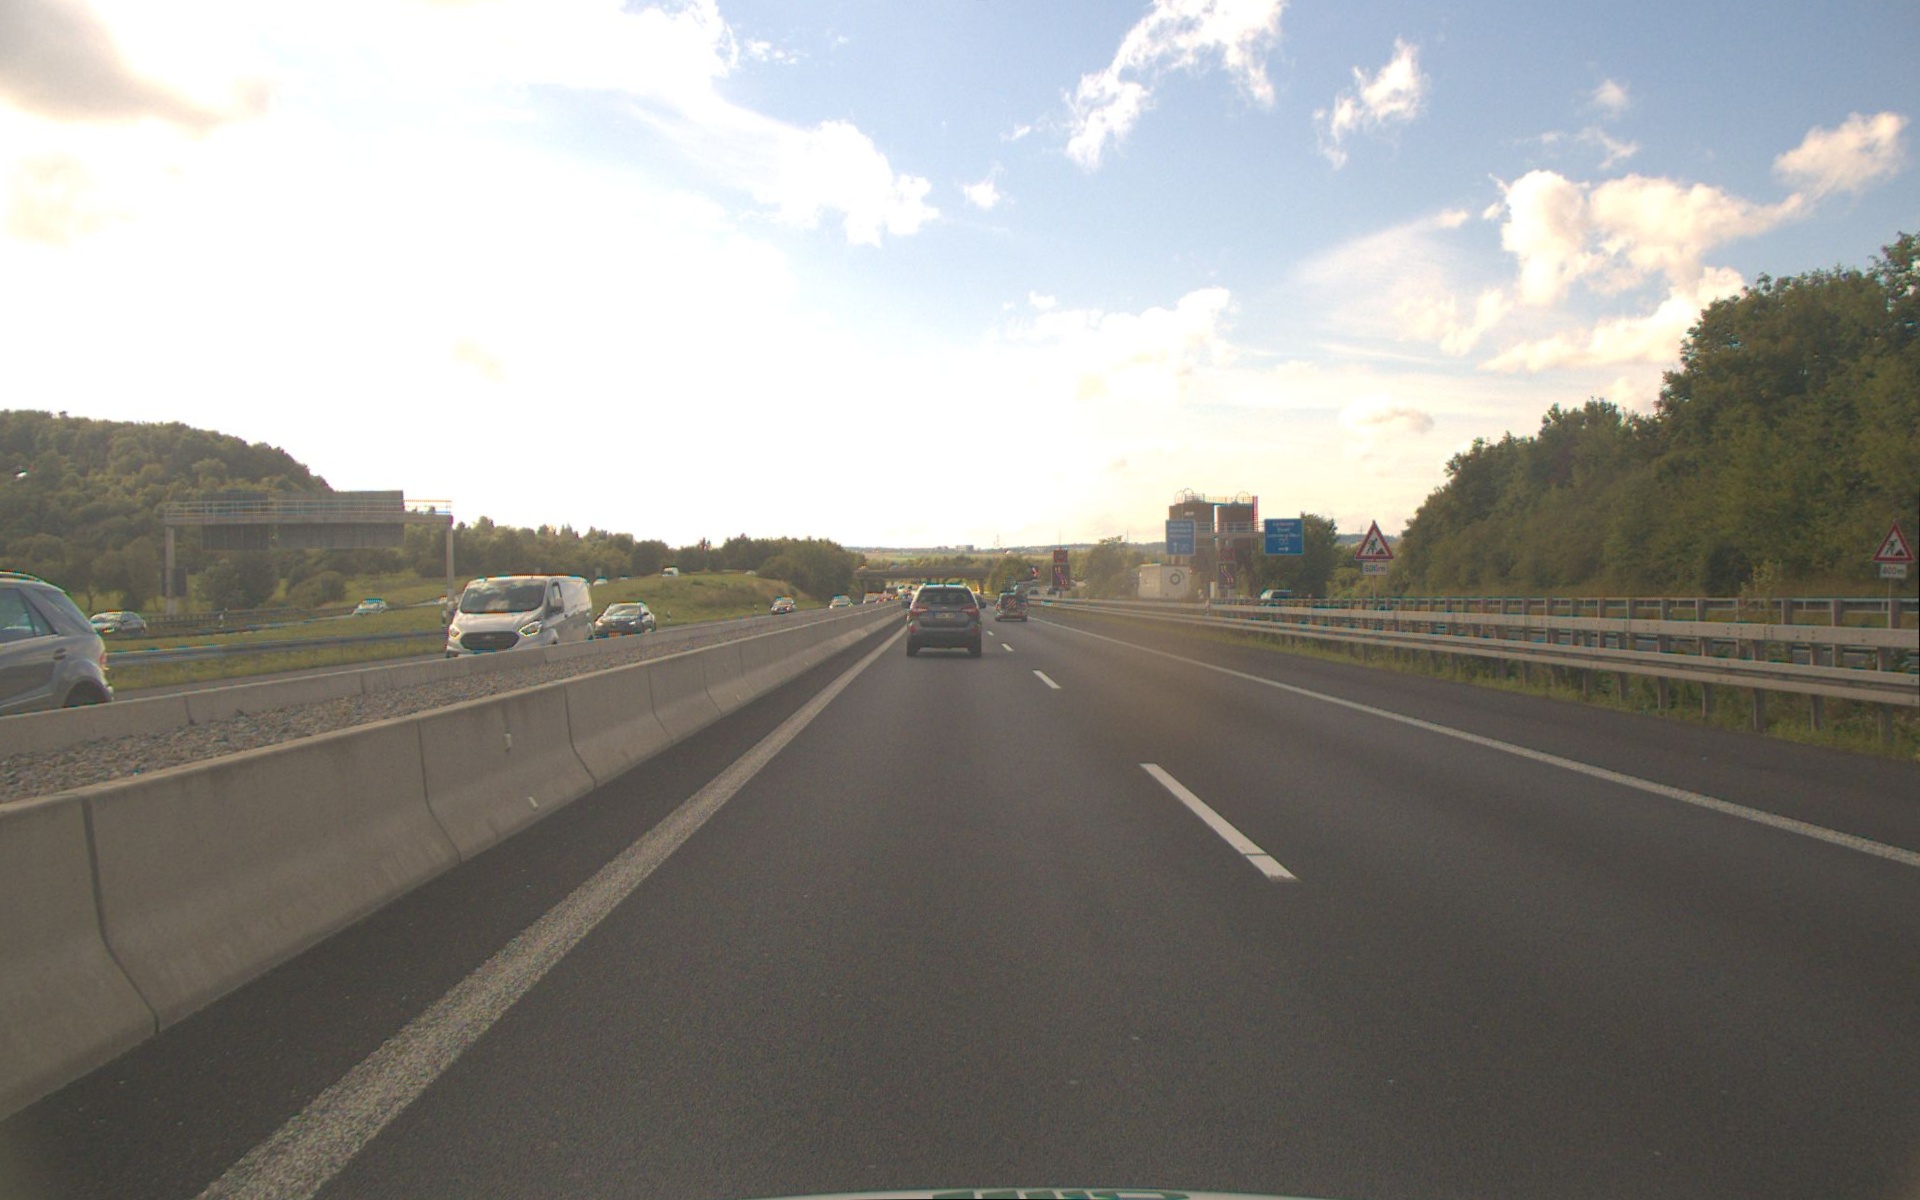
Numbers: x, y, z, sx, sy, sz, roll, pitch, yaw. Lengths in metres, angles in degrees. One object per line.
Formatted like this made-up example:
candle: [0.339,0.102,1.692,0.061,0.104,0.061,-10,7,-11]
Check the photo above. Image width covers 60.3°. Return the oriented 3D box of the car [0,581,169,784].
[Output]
car: [-8.349,0.667,12.902,1.953,1.559,5.020,-2,0,-1]

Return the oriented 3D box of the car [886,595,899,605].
car: [-10.559,-0.033,258.499,1.751,1.422,4.622,-2,0,-1]

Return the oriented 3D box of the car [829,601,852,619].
car: [-9.728,0.823,134.672,1.608,1.422,3.741,-2,0,-1]

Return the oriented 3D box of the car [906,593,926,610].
car: [-5.062,0.178,190.778,2.124,1.875,4.000,-2,0,1]

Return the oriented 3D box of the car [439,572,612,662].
car: [-8.486,0.308,32.881,1.953,1.559,5.746,-2,0,-1]

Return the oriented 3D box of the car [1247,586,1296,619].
car: [17.523,0.131,93.145,1.953,1.747,3.999,-2,0,-1]

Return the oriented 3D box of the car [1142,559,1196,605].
car: [17.766,-1.497,141.265,3.504,3.741,7.548,-2,0,-1]

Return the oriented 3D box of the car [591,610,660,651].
car: [-12.950,1.158,64.205,1.718,1.426,4.690,-2,0,-1]

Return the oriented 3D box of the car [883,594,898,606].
car: [-9.230,-0.012,218.958,1.751,1.422,4.798,-2,0,-1]

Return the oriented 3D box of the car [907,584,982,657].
car: [-0.340,0.472,40.819,1.714,1.659,3.609,-2,0,1]

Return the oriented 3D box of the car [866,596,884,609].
car: [-9.472,0.270,183.747,1.751,1.422,4.724,-2,0,-1]

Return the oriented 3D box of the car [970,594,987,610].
car: [2.264,0.251,202.504,1.935,1.810,4.119,-2,0,-1]

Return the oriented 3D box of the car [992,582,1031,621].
car: [2.895,0.072,93.745,1.953,2.117,3.999,-2,0,-1]

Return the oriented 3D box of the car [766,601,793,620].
car: [-14.360,0.807,131.898,1.692,1.422,4.157,-2,0,-1]
